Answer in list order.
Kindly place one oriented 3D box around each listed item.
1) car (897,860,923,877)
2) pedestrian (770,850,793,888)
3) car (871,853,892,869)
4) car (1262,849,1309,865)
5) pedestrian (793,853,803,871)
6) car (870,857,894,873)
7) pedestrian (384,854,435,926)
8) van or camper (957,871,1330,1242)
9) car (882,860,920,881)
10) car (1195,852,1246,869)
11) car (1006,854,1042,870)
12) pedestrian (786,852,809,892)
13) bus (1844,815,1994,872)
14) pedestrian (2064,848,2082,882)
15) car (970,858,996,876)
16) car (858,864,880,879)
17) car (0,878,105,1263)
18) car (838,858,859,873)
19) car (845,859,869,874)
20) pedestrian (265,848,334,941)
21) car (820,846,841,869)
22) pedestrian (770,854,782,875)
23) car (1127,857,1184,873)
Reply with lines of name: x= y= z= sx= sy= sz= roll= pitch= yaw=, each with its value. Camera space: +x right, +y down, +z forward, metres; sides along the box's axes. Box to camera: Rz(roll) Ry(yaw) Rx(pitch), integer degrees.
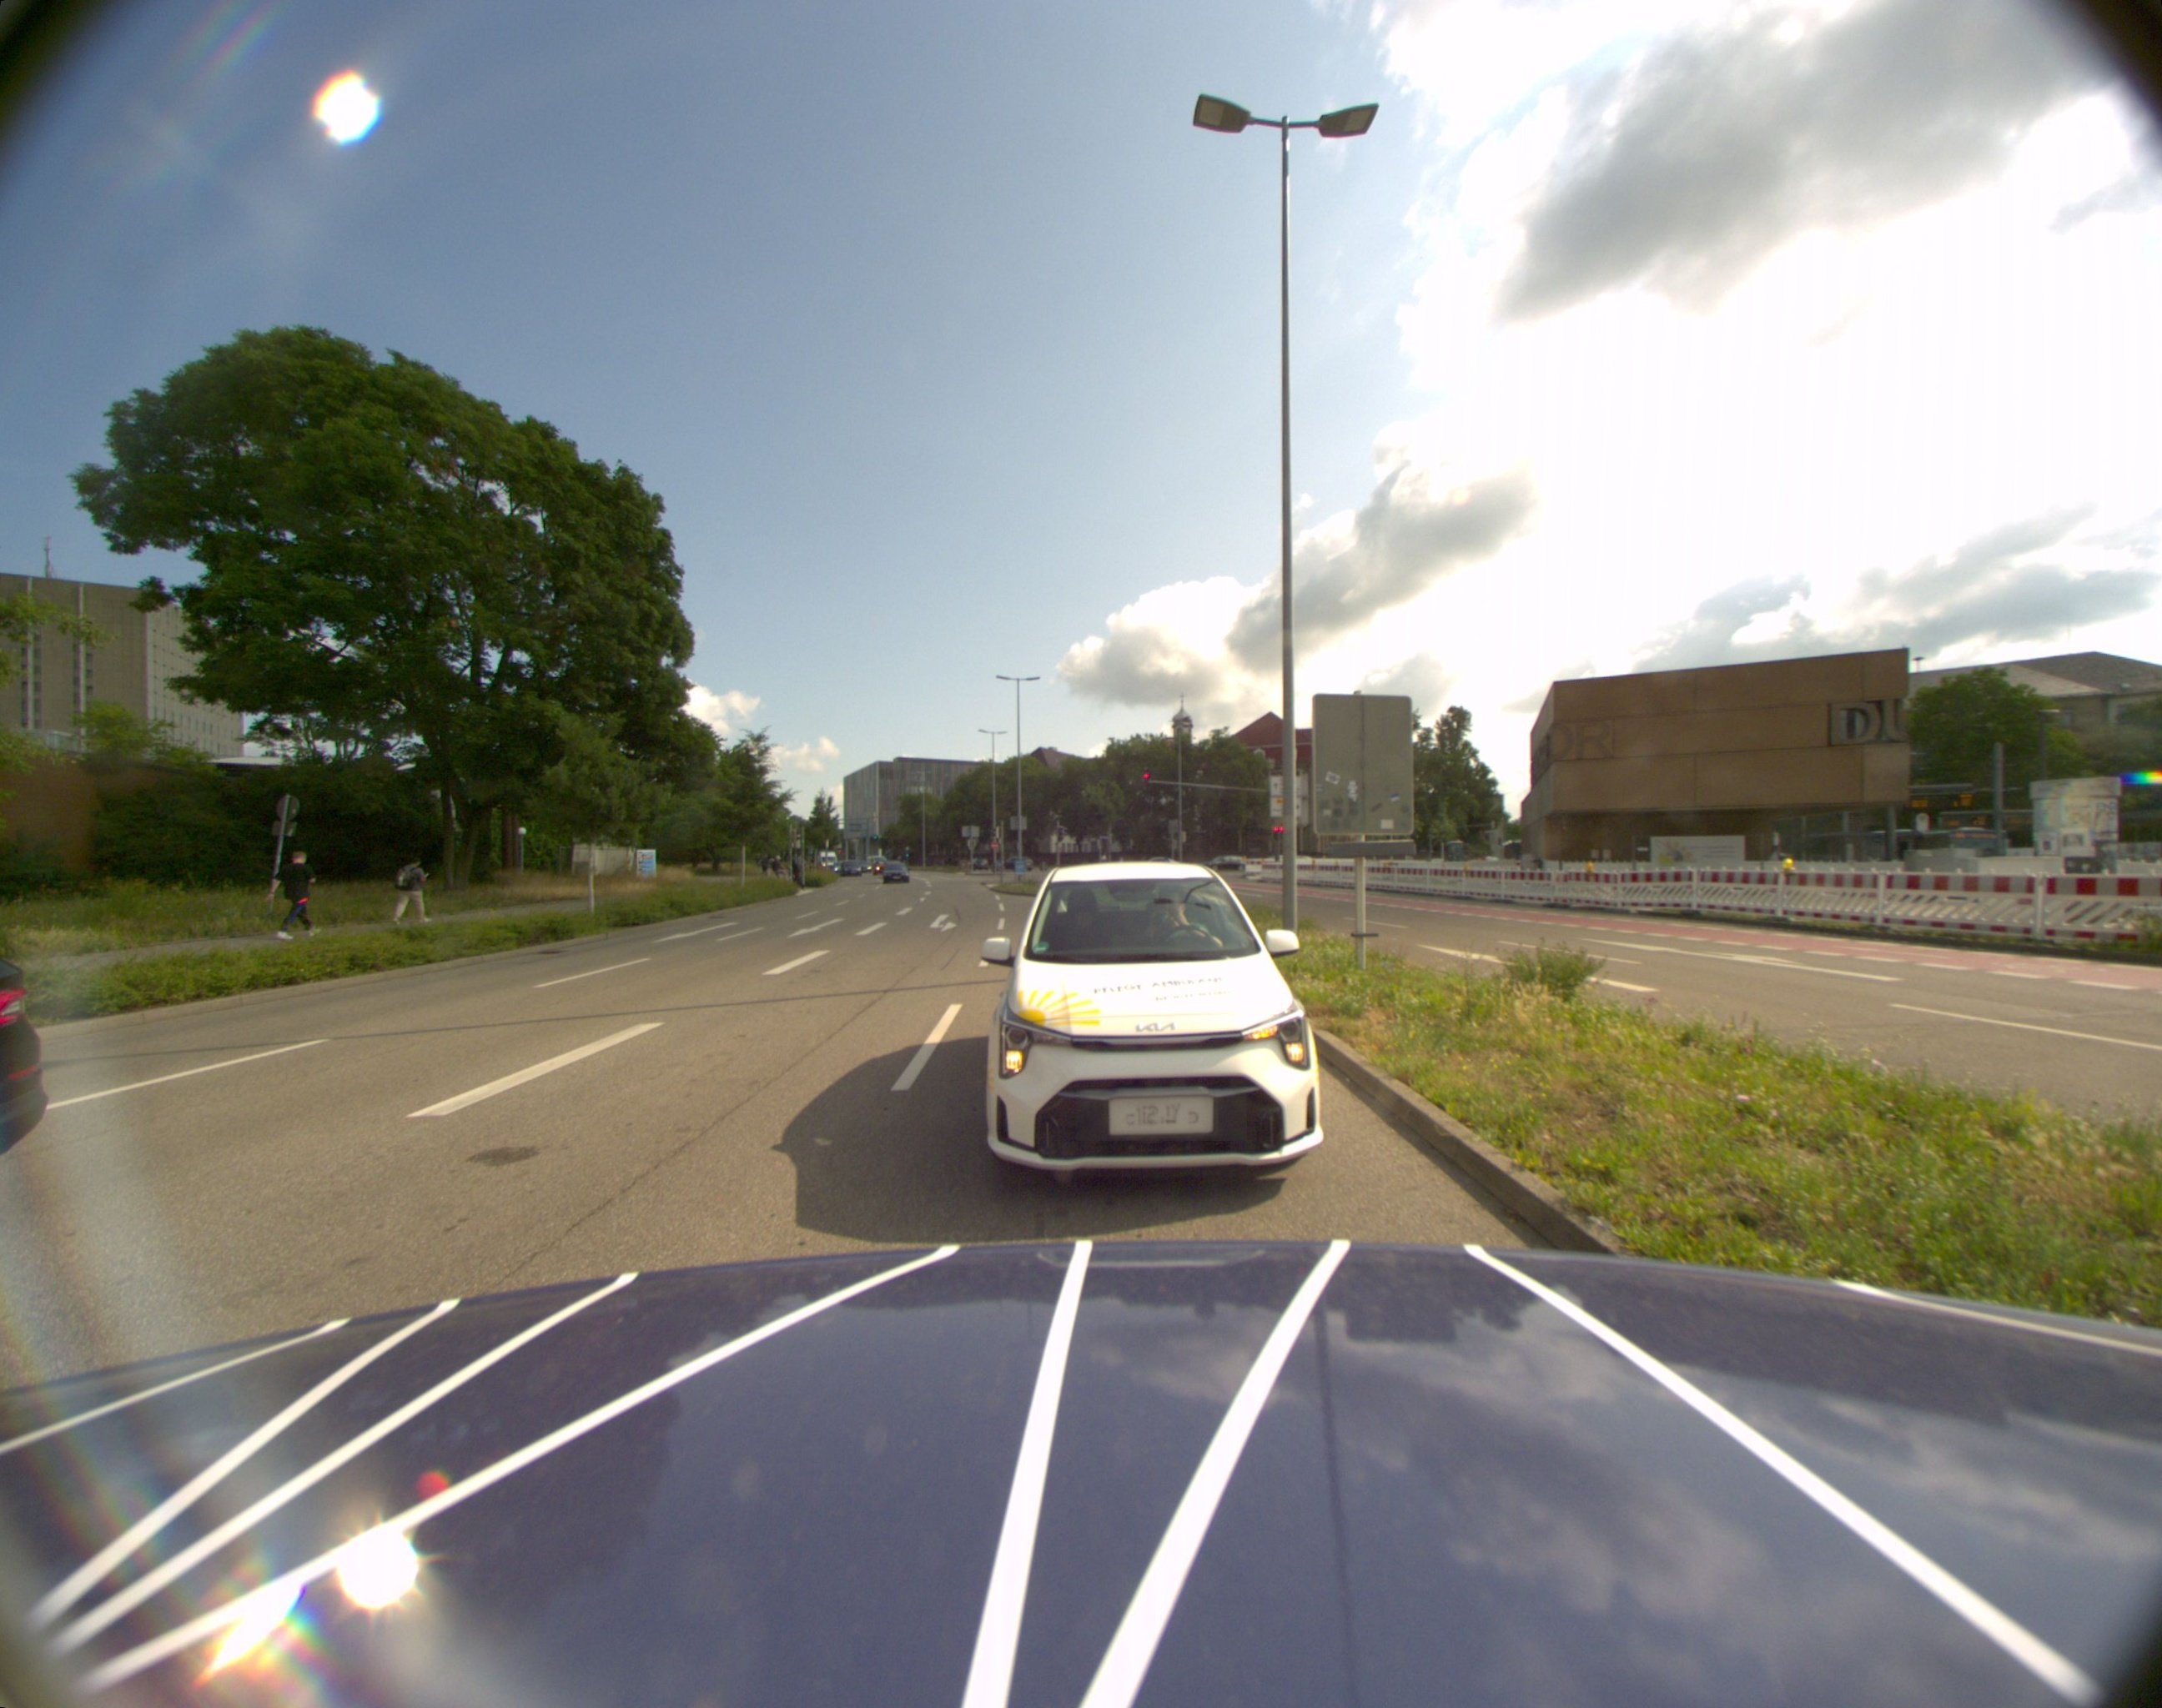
car: x=-15.337 y=1.248 z=68.200 sx=1.713 sy=1.445 sz=3.998 roll=-1 pitch=0 yaw=-5
pedestrian: x=-16.586 y=0.819 z=42.098 sx=0.988 sy=2.002 sz=1.128 roll=-3 pitch=1 yaw=-16
car: x=-27.039 y=0.971 z=102.864 sx=2.002 sy=2.002 sz=5.064 roll=-3 pitch=1 yaw=-23
car: x=18.765 y=0.258 z=69.612 sx=4.136 sy=1.382 sz=1.756 roll=-1 pitch=0 yaw=-29
pedestrian: x=-31.834 y=0.889 z=85.444 sx=0.988 sy=2.002 sz=1.128 roll=-1 pitch=1 yaw=-16
car: x=-20.366 y=1.102 z=77.754 sx=2.002 sy=1.477 sz=3.993 roll=-1 pitch=0 yaw=-20
pedestrian: x=-16.756 y=0.873 z=18.964 sx=0.671 sy=1.736 sz=0.645 roll=2 pitch=1 yaw=1
van or camper: x=0.349 y=0.931 z=5.333 sx=1.627 sy=1.467 sz=4.000 roll=0 pitch=1 yaw=2
car: x=-12.419 y=1.133 z=52.606 sx=2.000 sy=1.389 sz=4.507 roll=-1 pitch=-1 yaw=-7
car: x=12.104 y=0.555 z=66.003 sx=4.136 sy=1.382 sz=1.756 roll=-1 pitch=0 yaw=-29
car: x=-5.836 y=0.842 z=77.855 sx=2.003 sy=1.586 sz=3.990 roll=-1 pitch=0 yaw=-32
pedestrian: x=-15.016 y=0.937 z=40.251 sx=0.988 sy=2.002 sz=1.128 roll=-3 pitch=1 yaw=-16
bus: x=57.528 y=-0.652 z=52.680 sx=2.957 sy=3.487 sz=12.276 roll=0 pitch=0 yaw=28
pedestrian: x=46.460 y=0.520 z=35.580 sx=0.357 sy=1.593 sz=0.365 roll=-1 pitch=1 yaw=22
car: x=-11.747 y=1.564 z=90.983 sx=1.775 sy=2.002 sz=3.604 roll=-3 pitch=1 yaw=-30
car: x=-25.157 y=2.053 z=90.146 sx=1.893 sy=1.608 sz=3.992 roll=-3 pitch=1 yaw=-24
car: x=-5.708 y=1.006 z=1.285 sx=1.999 sy=1.659 sz=4.682 roll=-2 pitch=1 yaw=0
car: x=-25.269 y=1.241 z=82.394 sx=2.002 sy=1.477 sz=3.993 roll=-1 pitch=0 yaw=-20
car: x=-22.065 y=1.204 z=74.608 sx=2.002 sy=1.477 sz=3.993 roll=-1 pitch=0 yaw=-20
pedestrian: x=-16.144 y=0.825 z=15.713 sx=0.760 sy=1.860 sz=0.645 roll=2 pitch=1 yaw=1
car: x=-31.612 y=0.446 z=95.773 sx=2.488 sy=2.862 sz=6.139 roll=-1 pitch=0 yaw=-19
pedestrian: x=-30.781 y=1.043 z=76.715 sx=0.988 sy=2.002 sz=1.128 roll=-3 pitch=1 yaw=-16
car: x=7.044 y=1.011 z=71.923 sx=5.097 sy=1.479 sz=1.958 roll=0 pitch=0 yaw=-3
